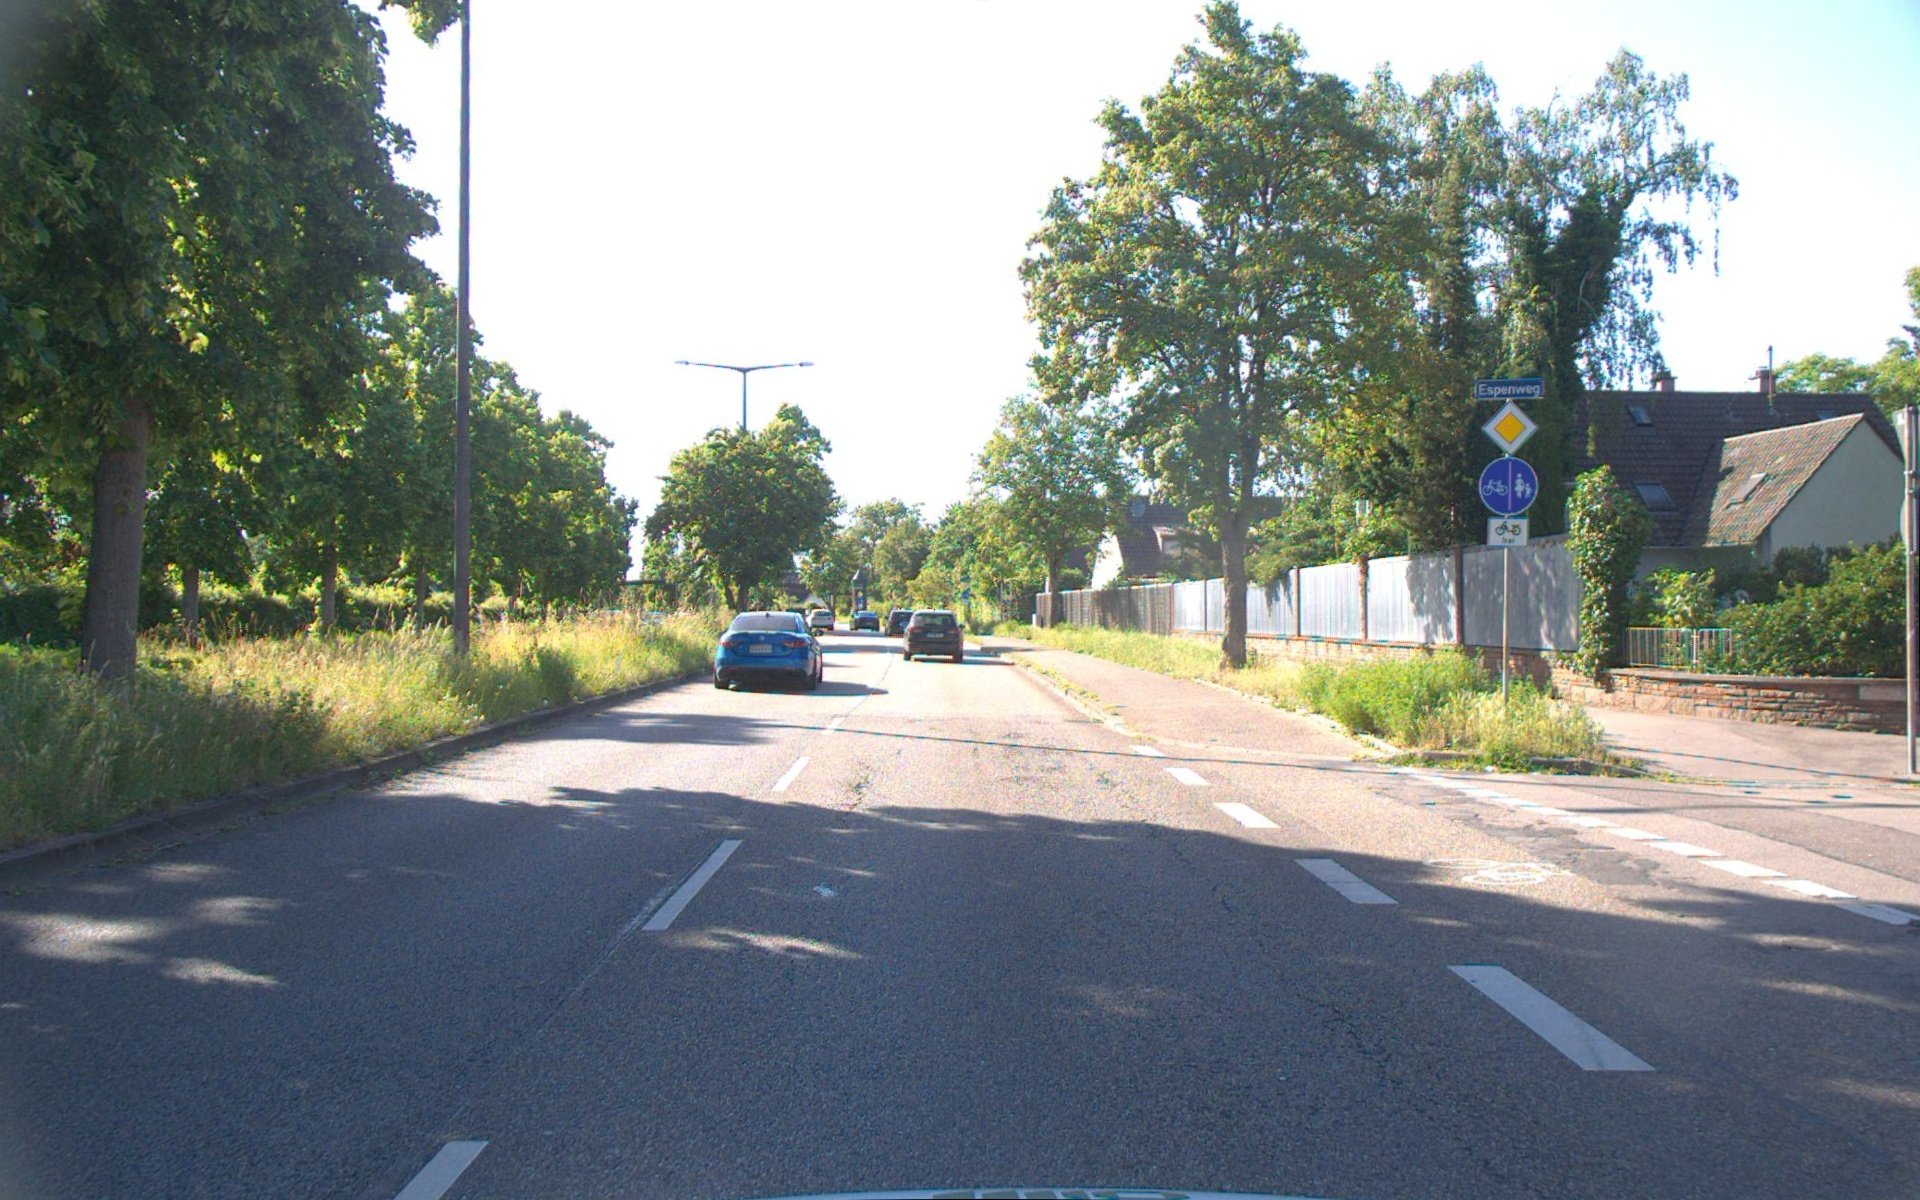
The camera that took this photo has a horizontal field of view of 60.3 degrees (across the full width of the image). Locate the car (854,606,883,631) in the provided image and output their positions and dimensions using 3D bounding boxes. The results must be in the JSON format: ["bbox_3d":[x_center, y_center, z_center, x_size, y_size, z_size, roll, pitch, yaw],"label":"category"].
[{"bbox_3d":[-6.683,1.349,120.479,1.878,1.707,4.007,1,-1,-6],"label":"car"}]

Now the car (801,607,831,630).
[{"bbox_3d":[-10.136,1.299,116.620,1.877,1.539,4.065,1,0,-3],"label":"car"}]

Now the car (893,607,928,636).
[{"bbox_3d":[-2.909,1.227,95.925,1.877,1.607,4.179,1,-1,-4],"label":"car"}]

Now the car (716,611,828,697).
[{"bbox_3d":[-3.513,0.979,31.532,1.802,1.500,4.182,-1,-1,-3],"label":"car"}]

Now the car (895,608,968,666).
[{"bbox_3d":[-0.897,1.090,49.358,1.878,1.607,4.178,1,-1,-5],"label":"car"}]
